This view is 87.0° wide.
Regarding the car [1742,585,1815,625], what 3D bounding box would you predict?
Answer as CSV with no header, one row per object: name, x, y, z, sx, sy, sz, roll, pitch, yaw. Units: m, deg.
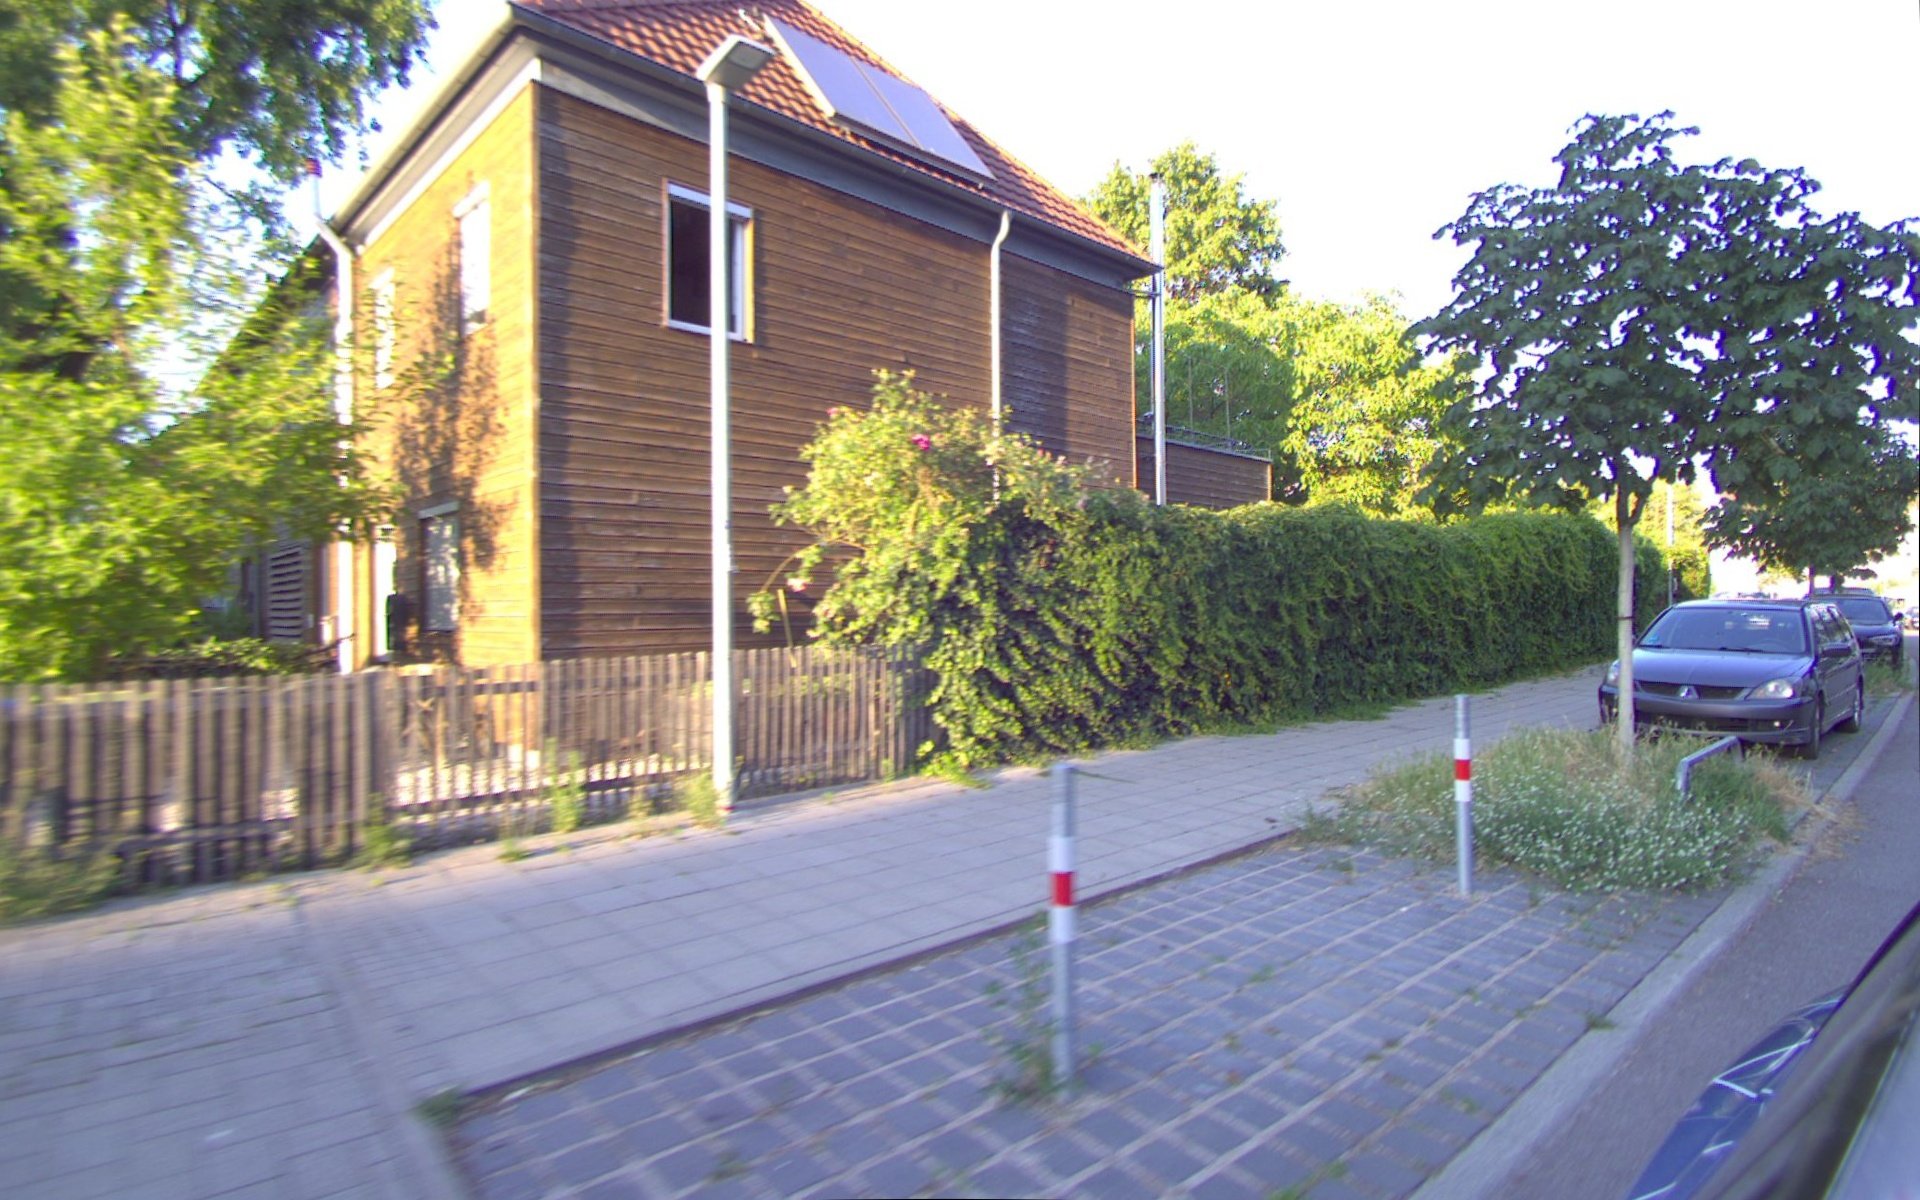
car,31.863,0.178,39.363,4.297,1.481,1.766,0,0,-45

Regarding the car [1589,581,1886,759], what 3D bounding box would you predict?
car,8.204,0.580,10.524,4.292,1.481,1.679,0,0,-42

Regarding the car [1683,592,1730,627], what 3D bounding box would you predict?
car,49.678,0.593,67.451,2.236,2.201,5.090,0,0,33

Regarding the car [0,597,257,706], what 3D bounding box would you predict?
car,-12.882,0.709,15.295,3.546,1.474,1.955,0,0,-41

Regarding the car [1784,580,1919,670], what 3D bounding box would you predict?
car,16.784,0.410,18.879,4.297,1.481,1.766,0,0,-45

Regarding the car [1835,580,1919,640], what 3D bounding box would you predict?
car,24.720,0.251,27.240,1.764,1.481,4.303,0,0,41

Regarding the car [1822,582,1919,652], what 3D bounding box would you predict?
car,21.221,0.355,23.279,4.297,1.481,1.766,0,0,-45

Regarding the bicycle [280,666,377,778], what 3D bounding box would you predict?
bicycle,-5.627,1.038,8.981,0.556,0.807,1.700,0,-1,-38
